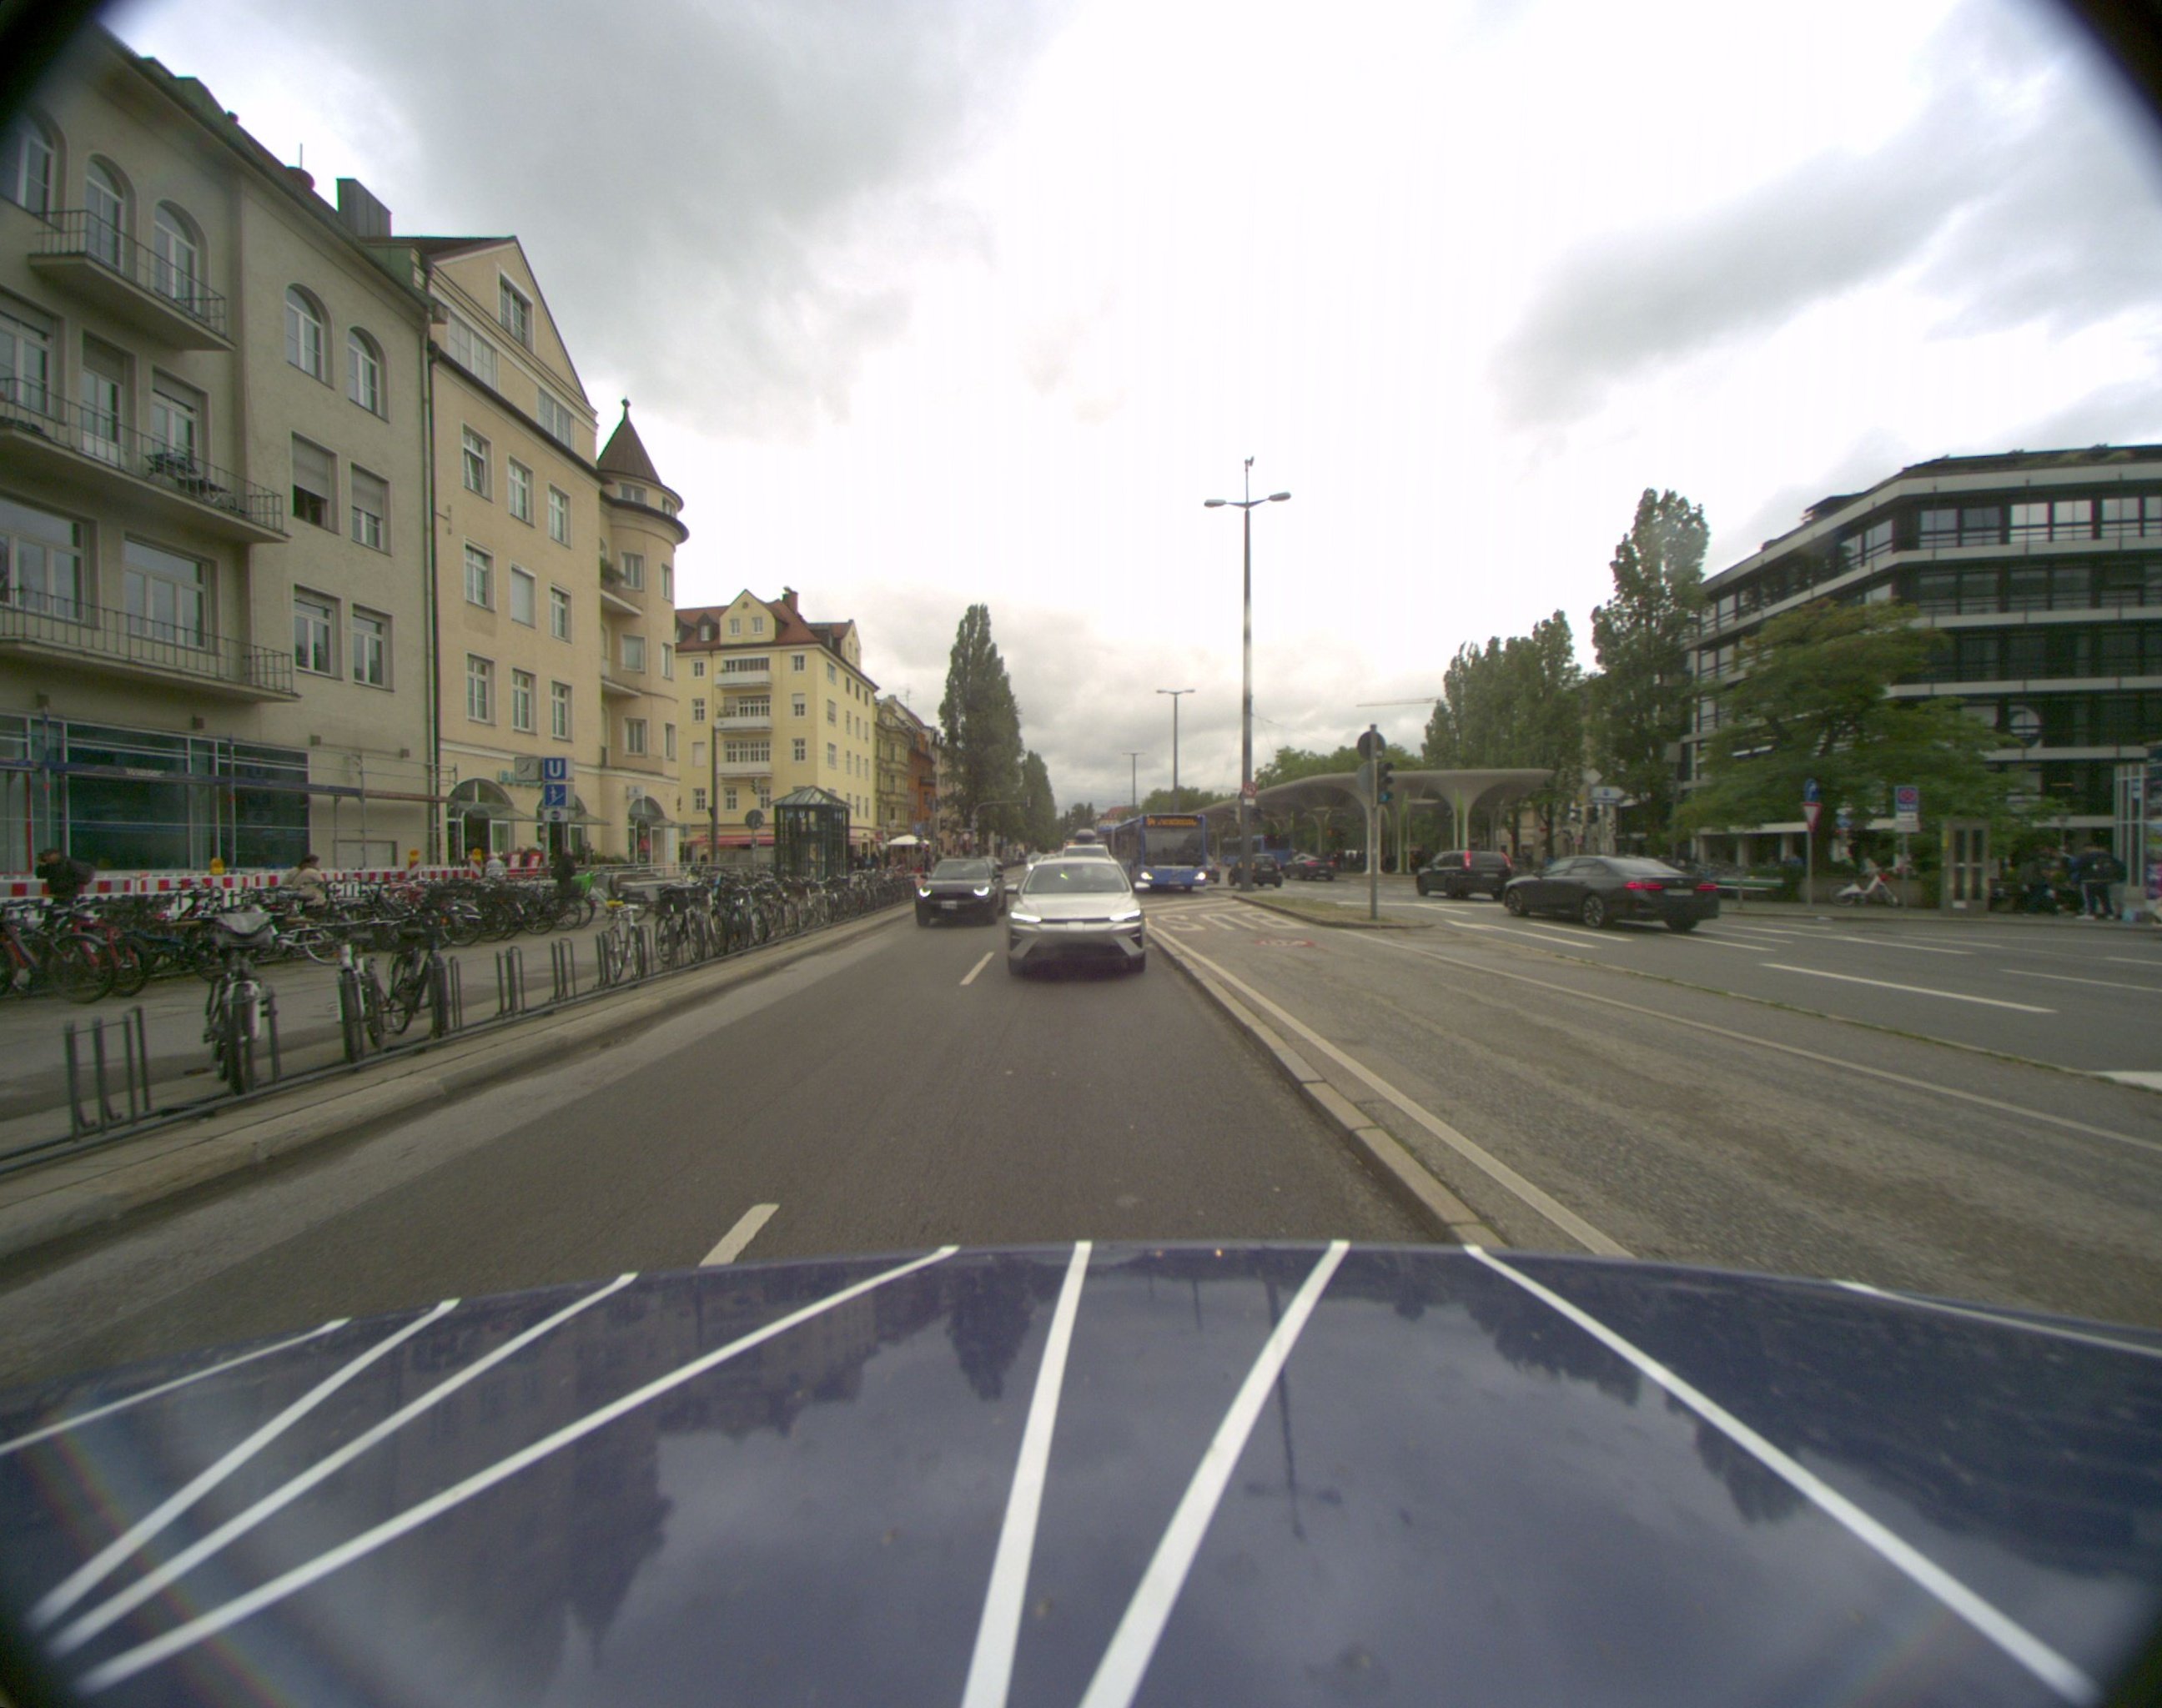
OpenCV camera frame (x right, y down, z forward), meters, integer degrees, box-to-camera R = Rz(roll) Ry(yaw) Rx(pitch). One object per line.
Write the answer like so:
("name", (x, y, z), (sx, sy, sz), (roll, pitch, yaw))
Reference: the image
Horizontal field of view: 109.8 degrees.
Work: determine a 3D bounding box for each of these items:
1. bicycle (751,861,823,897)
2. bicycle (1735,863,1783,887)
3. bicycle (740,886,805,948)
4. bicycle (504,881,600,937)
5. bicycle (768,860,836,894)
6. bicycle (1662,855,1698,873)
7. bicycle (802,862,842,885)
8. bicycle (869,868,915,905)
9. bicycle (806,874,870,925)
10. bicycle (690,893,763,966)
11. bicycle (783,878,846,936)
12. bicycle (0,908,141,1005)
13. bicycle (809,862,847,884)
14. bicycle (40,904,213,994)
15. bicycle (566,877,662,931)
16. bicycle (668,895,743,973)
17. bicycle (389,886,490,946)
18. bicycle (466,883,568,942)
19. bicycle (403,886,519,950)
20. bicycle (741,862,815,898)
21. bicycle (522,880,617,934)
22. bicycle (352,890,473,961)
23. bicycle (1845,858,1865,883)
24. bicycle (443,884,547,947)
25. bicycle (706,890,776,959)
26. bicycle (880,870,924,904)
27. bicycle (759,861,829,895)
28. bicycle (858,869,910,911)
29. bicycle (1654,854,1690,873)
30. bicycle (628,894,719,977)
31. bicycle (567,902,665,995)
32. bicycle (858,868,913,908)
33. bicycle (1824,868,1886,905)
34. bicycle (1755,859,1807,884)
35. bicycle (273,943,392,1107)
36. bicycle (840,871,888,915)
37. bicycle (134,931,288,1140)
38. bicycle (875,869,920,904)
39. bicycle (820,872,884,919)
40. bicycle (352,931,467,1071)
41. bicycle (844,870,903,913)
("bicycle", (-10.399, 0.875, 26.891), (2.317, 1.220, 0.628), (0, 1, 3))
("bicycle", (28.834, 0.883, 32.357), (0.510, 0.992, 1.751), (0, 1, 1))
("bicycle", (-5.753, 1.165, 14.109), (0.398, 1.053, 1.848), (-3, -1, -44))
("bicycle", (-10.553, 1.090, 15.182), (1.605, 1.071, 0.410), (1, 1, -1))
("bicycle", (-10.365, 0.849, 28.272), (2.317, 1.220, 0.628), (0, 1, 3))
("bicycle", (36.511, 0.585, 46.329), (0.474, 1.091, 1.671), (-1, 1, -33))
("bicycle", (-13.050, 0.964, 38.284), (1.822, 1.121, 0.610), (0, 0, 13))
("bicycle", (-5.960, 1.034, 23.916), (1.848, 1.053, 0.398), (-5, -1, 43))
("bicycle", (-5.824, 1.062, 18.164), (1.790, 1.131, 0.490), (-1, 1, 39))
("bicycle", (-5.631, 1.171, 12.023), (0.398, 1.053, 1.848), (-3, -1, -44))
("bicycle", (-5.690, 1.094, 16.175), (1.790, 1.131, 0.490), (-1, 1, 45))
("bicycle", (-12.119, 1.190, 8.921), (1.453, 1.071, 0.410), (0, 1, -8))
("bicycle", (-12.953, 0.949, 38.931), (1.822, 1.121, 0.610), (0, 0, 13))
("bicycle", (-11.965, 1.174, 9.551), (1.453, 1.071, 0.410), (0, 1, -8))
("bicycle", (-10.247, 1.083, 16.726), (0.409, 1.071, 1.765), (2, 1, 40))
("bicycle", (-5.626, 1.168, 11.325), (0.398, 1.053, 1.848), (-3, -1, -44))
("bicycle", (-11.983, 1.154, 14.212), (1.530, 1.071, 0.410), (1, 1, -1))
("bicycle", (-10.780, 1.109, 14.550), (1.625, 1.071, 0.410), (1, 1, -1))
("bicycle", (-10.840, 1.108, 13.309), (1.661, 1.071, 0.410), (1, 1, -1))
("bicycle", (-10.462, 0.889, 26.258), (2.317, 1.220, 0.628), (0, 1, 3))
("bicycle", (-10.504, 1.080, 15.634), (1.655, 1.071, 0.410), (1, 1, -1))
("bicycle", (-10.647, 1.132, 12.114), (1.539, 1.071, 0.410), (1, 1, -1))
("bicycle", (32.311, 0.680, 31.708), (1.929, 0.992, 0.509), (-1, 1, -42))
("bicycle", (-10.595, 1.099, 13.750), (1.637, 1.071, 0.410), (1, 1, 5))
("bicycle", (-5.737, 1.174, 12.759), (0.398, 1.053, 1.848), (-3, -1, -44))
("bicycle", (-5.956, 1.106, 25.211), (1.848, 1.053, 0.398), (-5, -1, 43))
("bicycle", (-10.390, 0.863, 27.554), (2.317, 1.220, 0.628), (0, 1, 3))
("bicycle", (-5.594, 0.992, 21.532), (1.673, 1.131, 0.479), (-1, 1, 40))
("bicycle", (35.457, 0.563, 45.607), (0.474, 1.091, 1.671), (-1, 1, -33))
("bicycle", (-5.707, 1.122, 10.600), (1.797, 1.053, 0.398), (-5, -1, 39))
("bicycle", (-5.661, 1.121, 9.202), (1.797, 1.004, 0.387), (-5, -1, 39))
("bicycle", (-5.751, 0.983, 22.295), (1.780, 1.131, 0.479), (-1, 1, 35))
("bicycle", (21.531, 0.902, 21.131), (1.298, 1.010, 0.419), (0, 1, -1))
("bicycle", (29.944, 0.741, 32.540), (0.510, 0.992, 1.925), (0, 1, 1))
("bicycle", (-5.590, 1.191, 5.642), (1.797, 1.004, 0.387), (-5, -1, 39))
("bicycle", (-5.803, 1.023, 20.280), (1.521, 1.131, 0.349), (-1, 1, 36))
("bicycle", (-5.725, 1.083, 4.978), (1.797, 1.098, 0.548), (-5, -1, 39))
("bicycle", (-5.948, 1.066, 24.594), (1.848, 1.053, 0.398), (-5, -1, 43))
("bicycle", (-5.904, 1.039, 19.570), (1.790, 1.131, 0.591), (-1, 1, 36))
("bicycle", (-5.645, 1.162, 6.350), (1.797, 1.004, 0.387), (-5, -1, 39))
("bicycle", (-5.666, 1.010, 20.682), (1.674, 1.131, 0.479), (-1, 1, 31))
